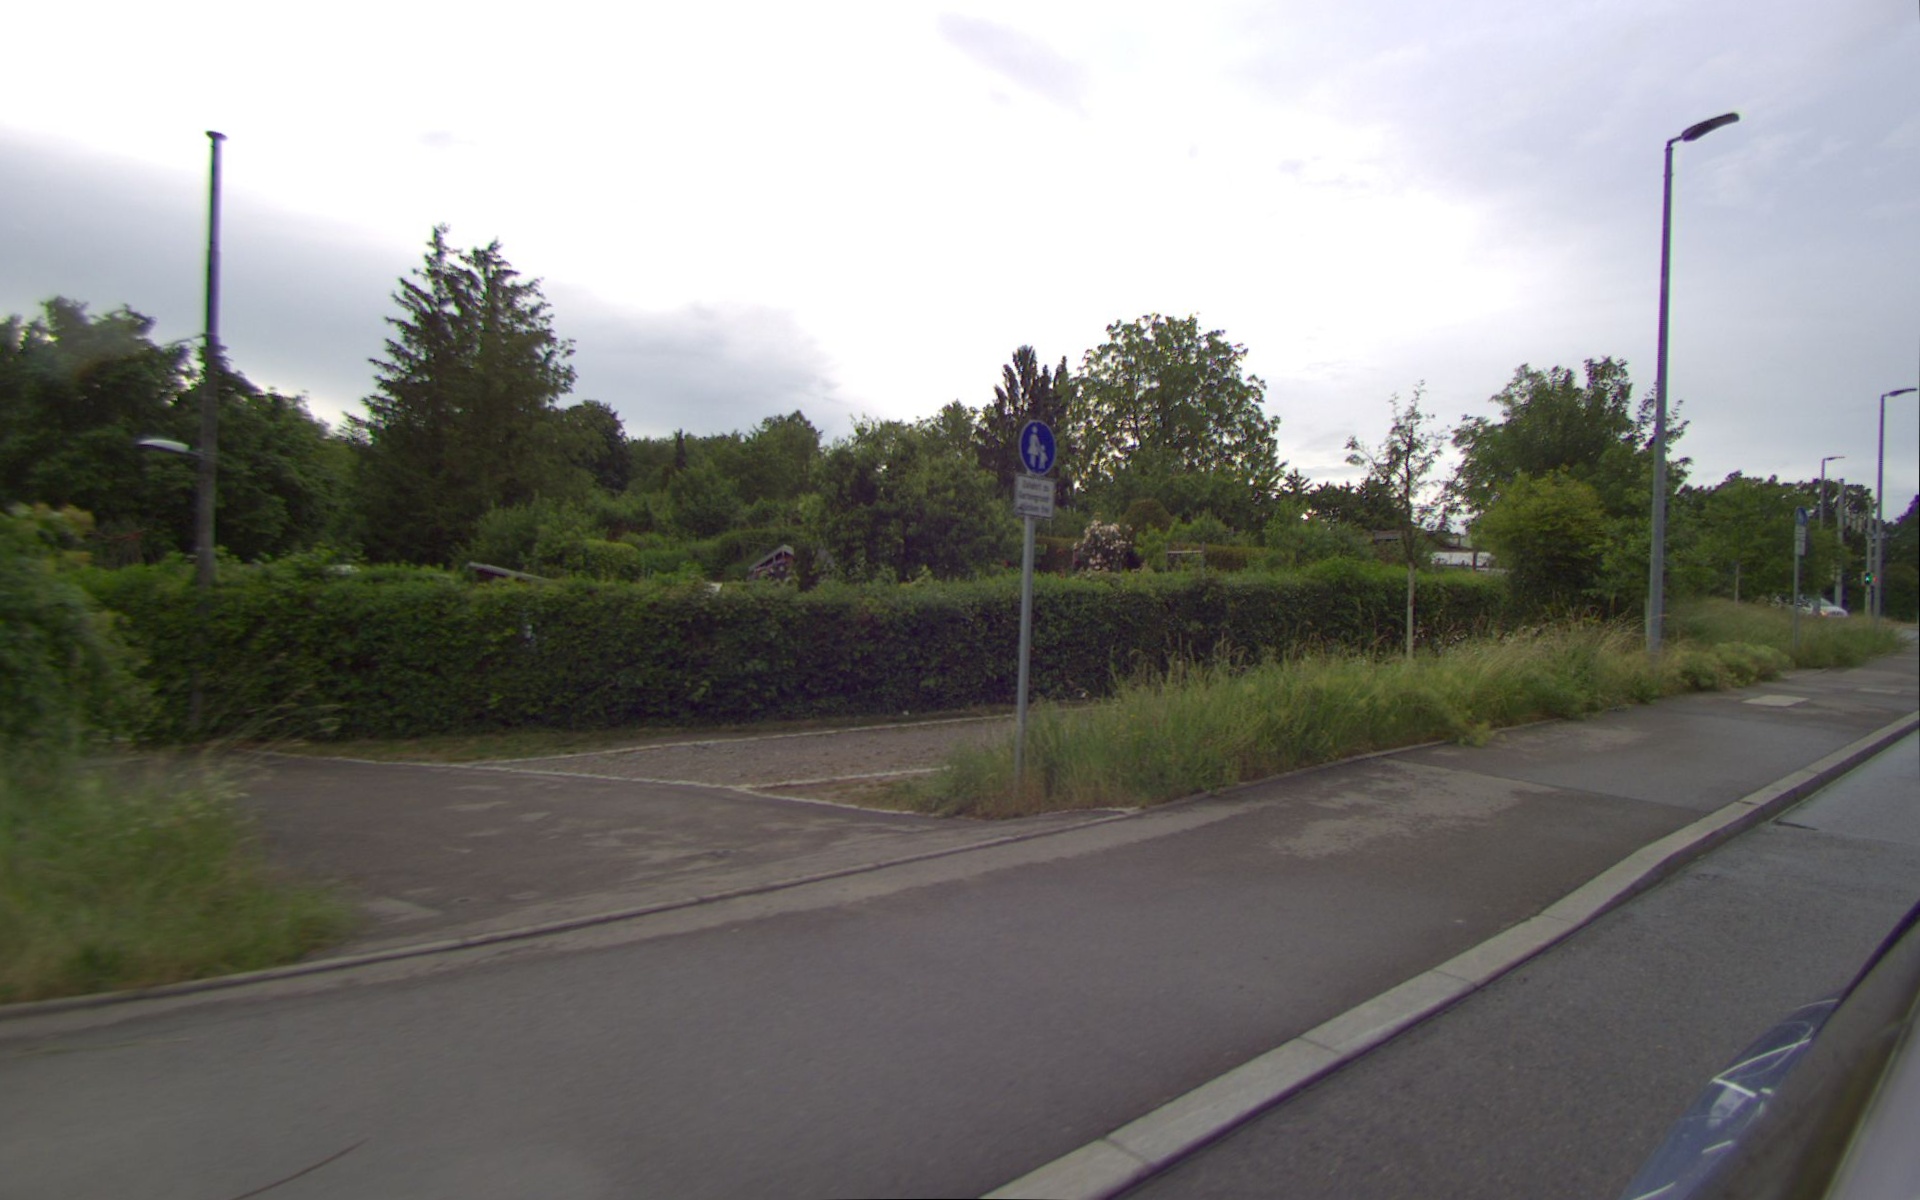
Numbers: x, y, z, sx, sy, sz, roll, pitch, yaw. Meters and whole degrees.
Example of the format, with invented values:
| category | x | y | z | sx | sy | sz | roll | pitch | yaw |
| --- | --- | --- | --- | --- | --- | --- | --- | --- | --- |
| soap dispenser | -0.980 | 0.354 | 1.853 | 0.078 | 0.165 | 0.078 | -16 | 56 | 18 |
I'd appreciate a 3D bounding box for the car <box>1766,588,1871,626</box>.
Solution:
| category | x | y | z | sx | sy | sz | roll | pitch | yaw |
| --- | --- | --- | --- | --- | --- | --- | --- | --- | --- |
| car | 45.310 | 0.328 | 53.554 | 1.786 | 1.623 | 4.071 | -2 | 4 | -7 |
